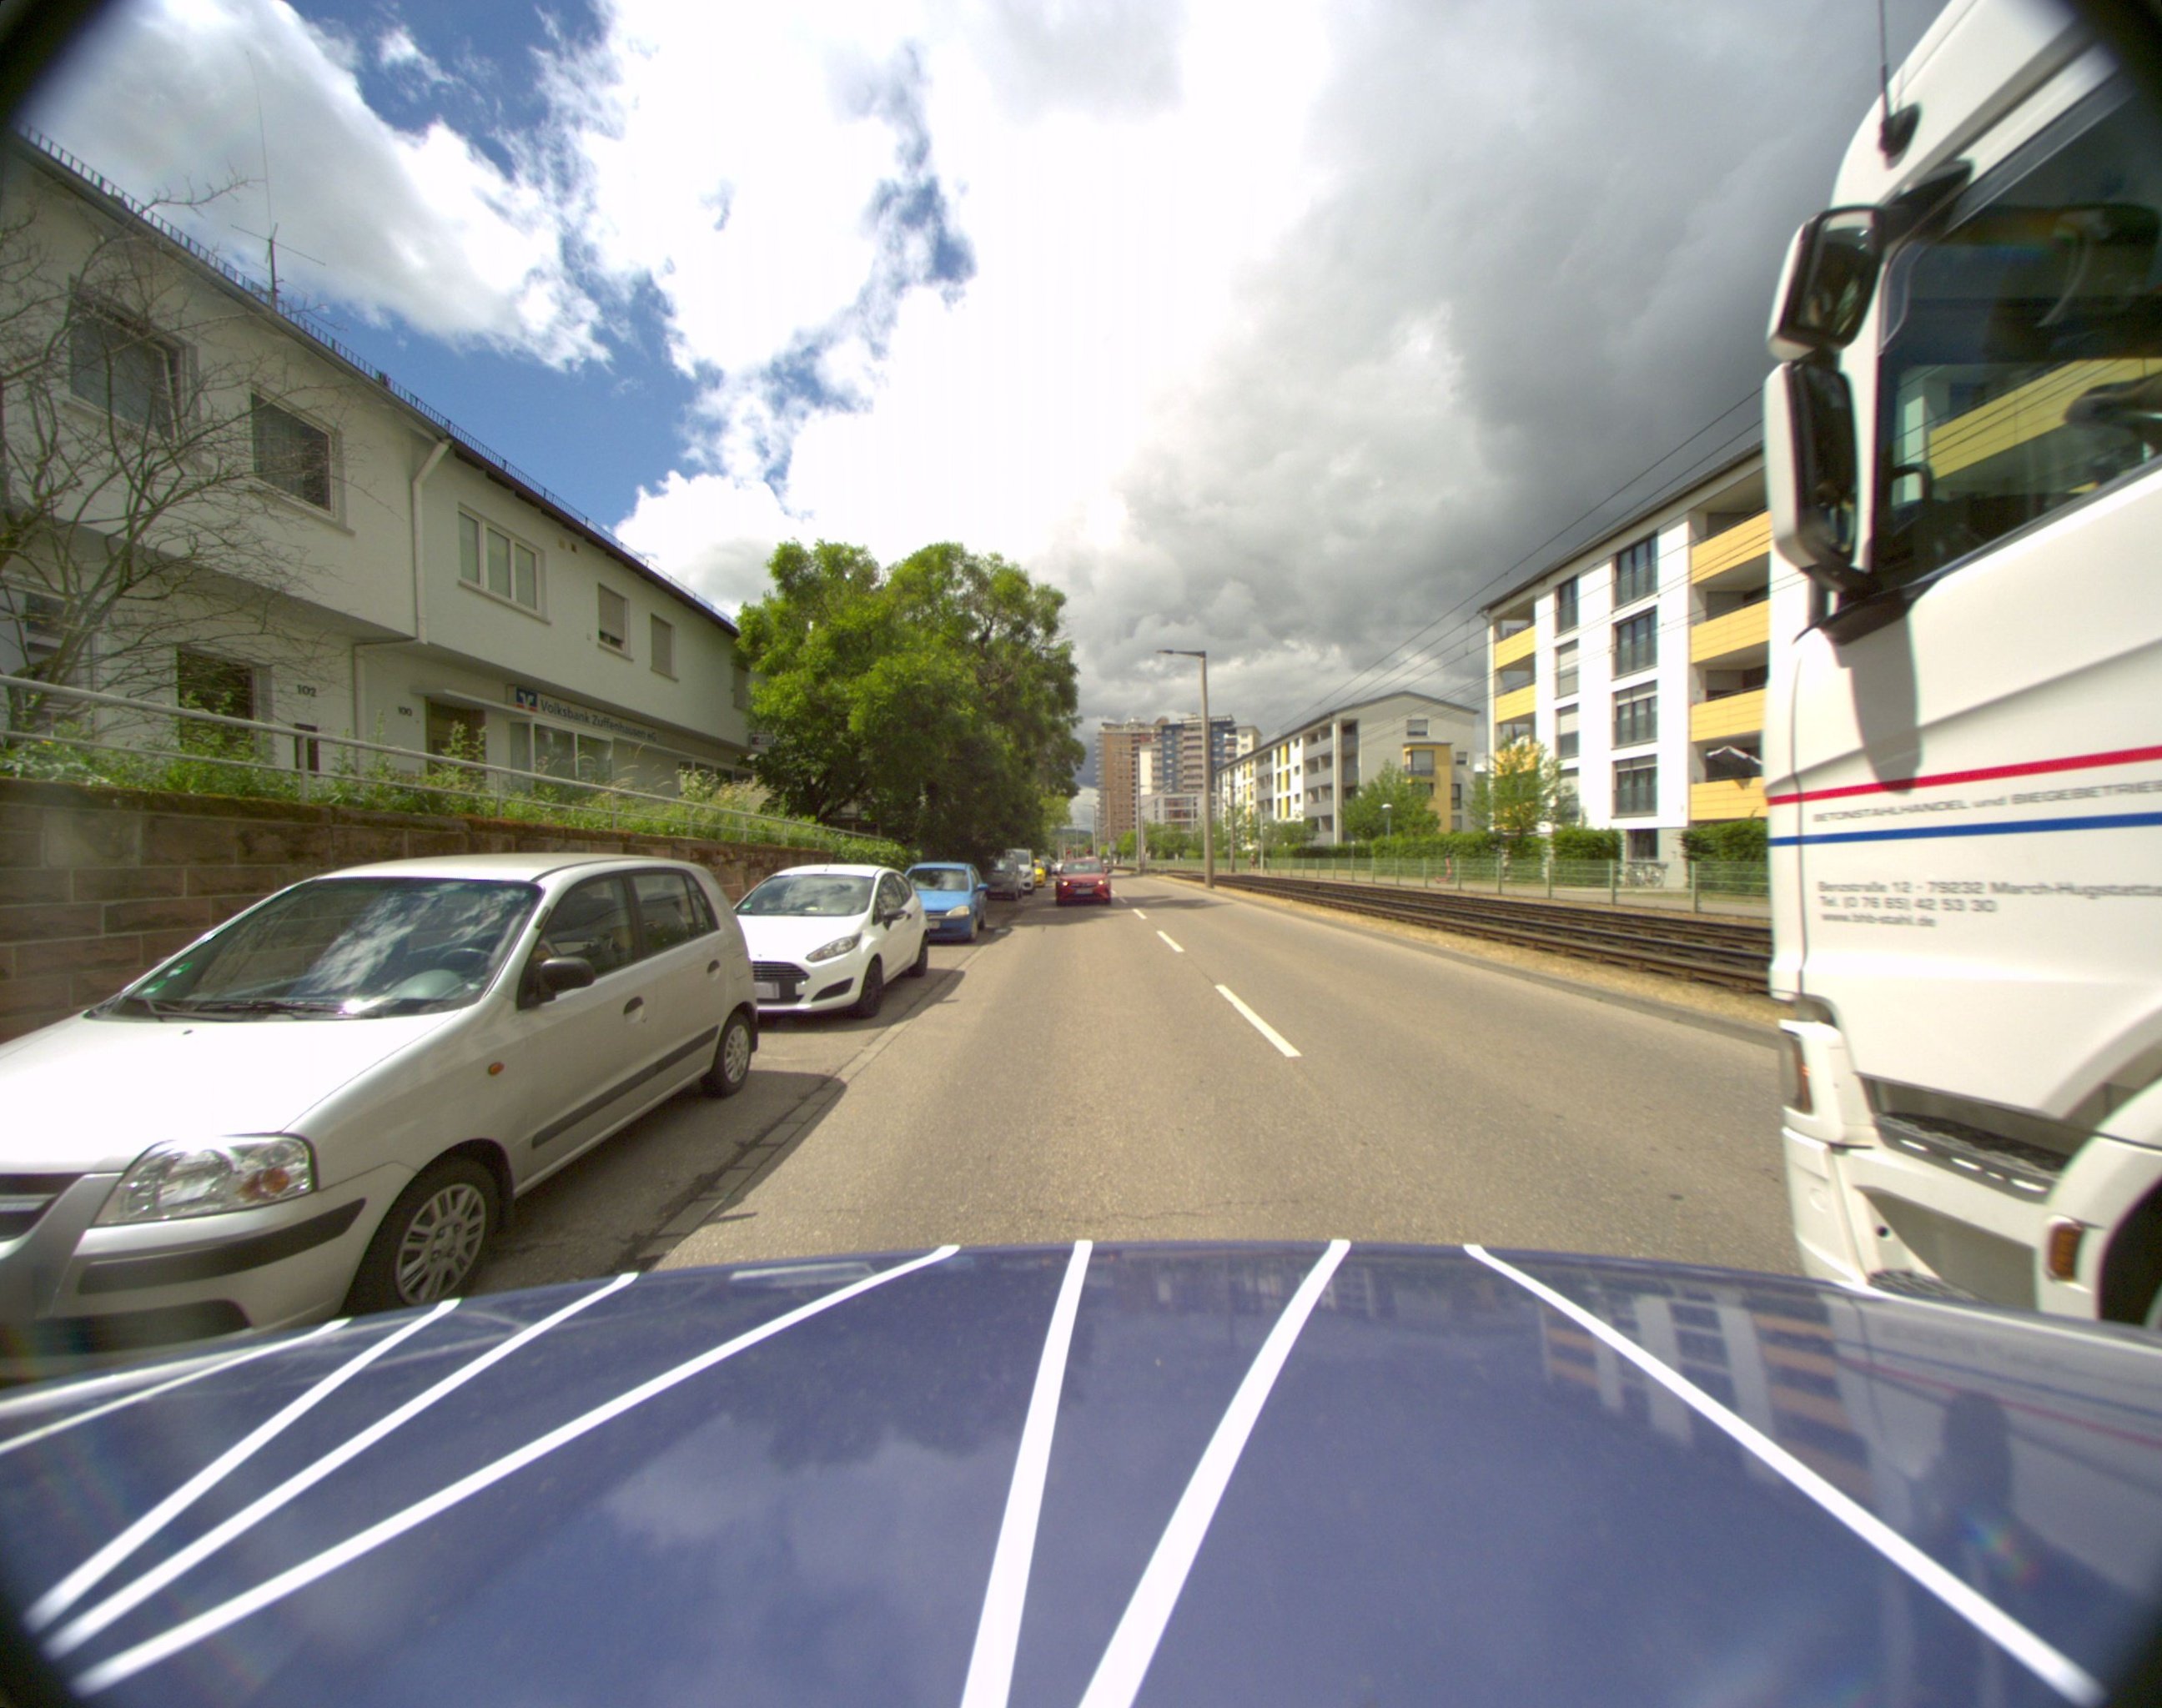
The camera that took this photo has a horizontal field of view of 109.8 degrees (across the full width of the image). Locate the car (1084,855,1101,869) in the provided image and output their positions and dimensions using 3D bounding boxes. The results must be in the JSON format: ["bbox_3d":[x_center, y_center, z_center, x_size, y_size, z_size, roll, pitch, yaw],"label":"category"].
[{"bbox_3d":[1.396,1.016,92.823,1.822,1.604,4.600,-2,0,-3],"label":"car"}]

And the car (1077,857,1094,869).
[{"bbox_3d":[0.584,1.174,102.165,1.822,1.494,4.835,-2,0,-3],"label":"car"}]

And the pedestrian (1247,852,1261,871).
[{"bbox_3d":[13.797,0.567,60.717,0.798,1.474,0.995,-1,0,-3],"label":"pedestrian"}]

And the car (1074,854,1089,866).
[{"bbox_3d":[0.069,0.914,118.216,1.863,1.680,4.432,-1,0,-4],"label":"car"}]

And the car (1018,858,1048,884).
[{"bbox_3d":[-2.883,0.998,46.066,1.760,1.434,4.492,0,0,-3],"label":"car"}]

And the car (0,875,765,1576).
[{"bbox_3d":[-2.956,0.927,3.490,1.585,1.543,3.474,-1,0,-1],"label":"car"}]

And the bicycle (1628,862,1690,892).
[{"bbox_3d":[20.409,0.796,26.886,0.556,0.974,2.213,-1,0,1],"label":"bicycle"}]

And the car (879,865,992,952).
[{"bbox_3d":[-2.709,0.960,14.860,1.612,1.448,3.675,0,0,-2],"label":"car"}]

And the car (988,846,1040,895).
[{"bbox_3d":[-2.830,0.663,33.042,1.919,1.947,5.744,0,0,-2],"label":"car"}]

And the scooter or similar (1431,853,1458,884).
[{"bbox_3d":[15.228,0.597,31.850,0.491,1.285,1.302,-1,0,0],"label":"scooter or similar"}]

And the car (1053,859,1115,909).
[{"bbox_3d":[0.023,0.890,24.649,1.792,1.387,4.241,-2,0,-2],"label":"car"}]

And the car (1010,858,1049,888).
[{"bbox_3d":[-2.615,0.922,39.176,1.760,1.434,4.340,0,0,-1],"label":"car"}]

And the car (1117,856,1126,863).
[{"bbox_3d":[10.236,1.411,192.194,1.782,1.530,3.802,-1,0,-4],"label":"car"}]

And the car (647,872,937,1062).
[{"bbox_3d":[-2.776,0.989,8.255,1.649,1.481,3.822,-1,0,0],"label":"car"}]

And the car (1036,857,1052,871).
[{"bbox_3d":[-4.410,1.151,91.669,1.843,1.634,4.428,-1,0,-3],"label":"car"}]

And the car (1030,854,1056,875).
[{"bbox_3d":[-3.290,0.889,66.907,2.020,1.778,5.075,0,0,-1],"label":"car"}]

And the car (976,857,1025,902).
[{"bbox_3d":[-2.869,0.889,27.657,1.517,1.525,2.846,0,0,-1],"label":"car"}]

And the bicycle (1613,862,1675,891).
[{"bbox_3d":[19.885,0.780,26.901,0.556,0.974,2.213,-1,0,1],"label":"bicycle"}]

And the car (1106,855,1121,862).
[{"bbox_3d":[9.702,1.322,229.685,4.506,1.914,1.877,-1,0,-44],"label":"car"}]
